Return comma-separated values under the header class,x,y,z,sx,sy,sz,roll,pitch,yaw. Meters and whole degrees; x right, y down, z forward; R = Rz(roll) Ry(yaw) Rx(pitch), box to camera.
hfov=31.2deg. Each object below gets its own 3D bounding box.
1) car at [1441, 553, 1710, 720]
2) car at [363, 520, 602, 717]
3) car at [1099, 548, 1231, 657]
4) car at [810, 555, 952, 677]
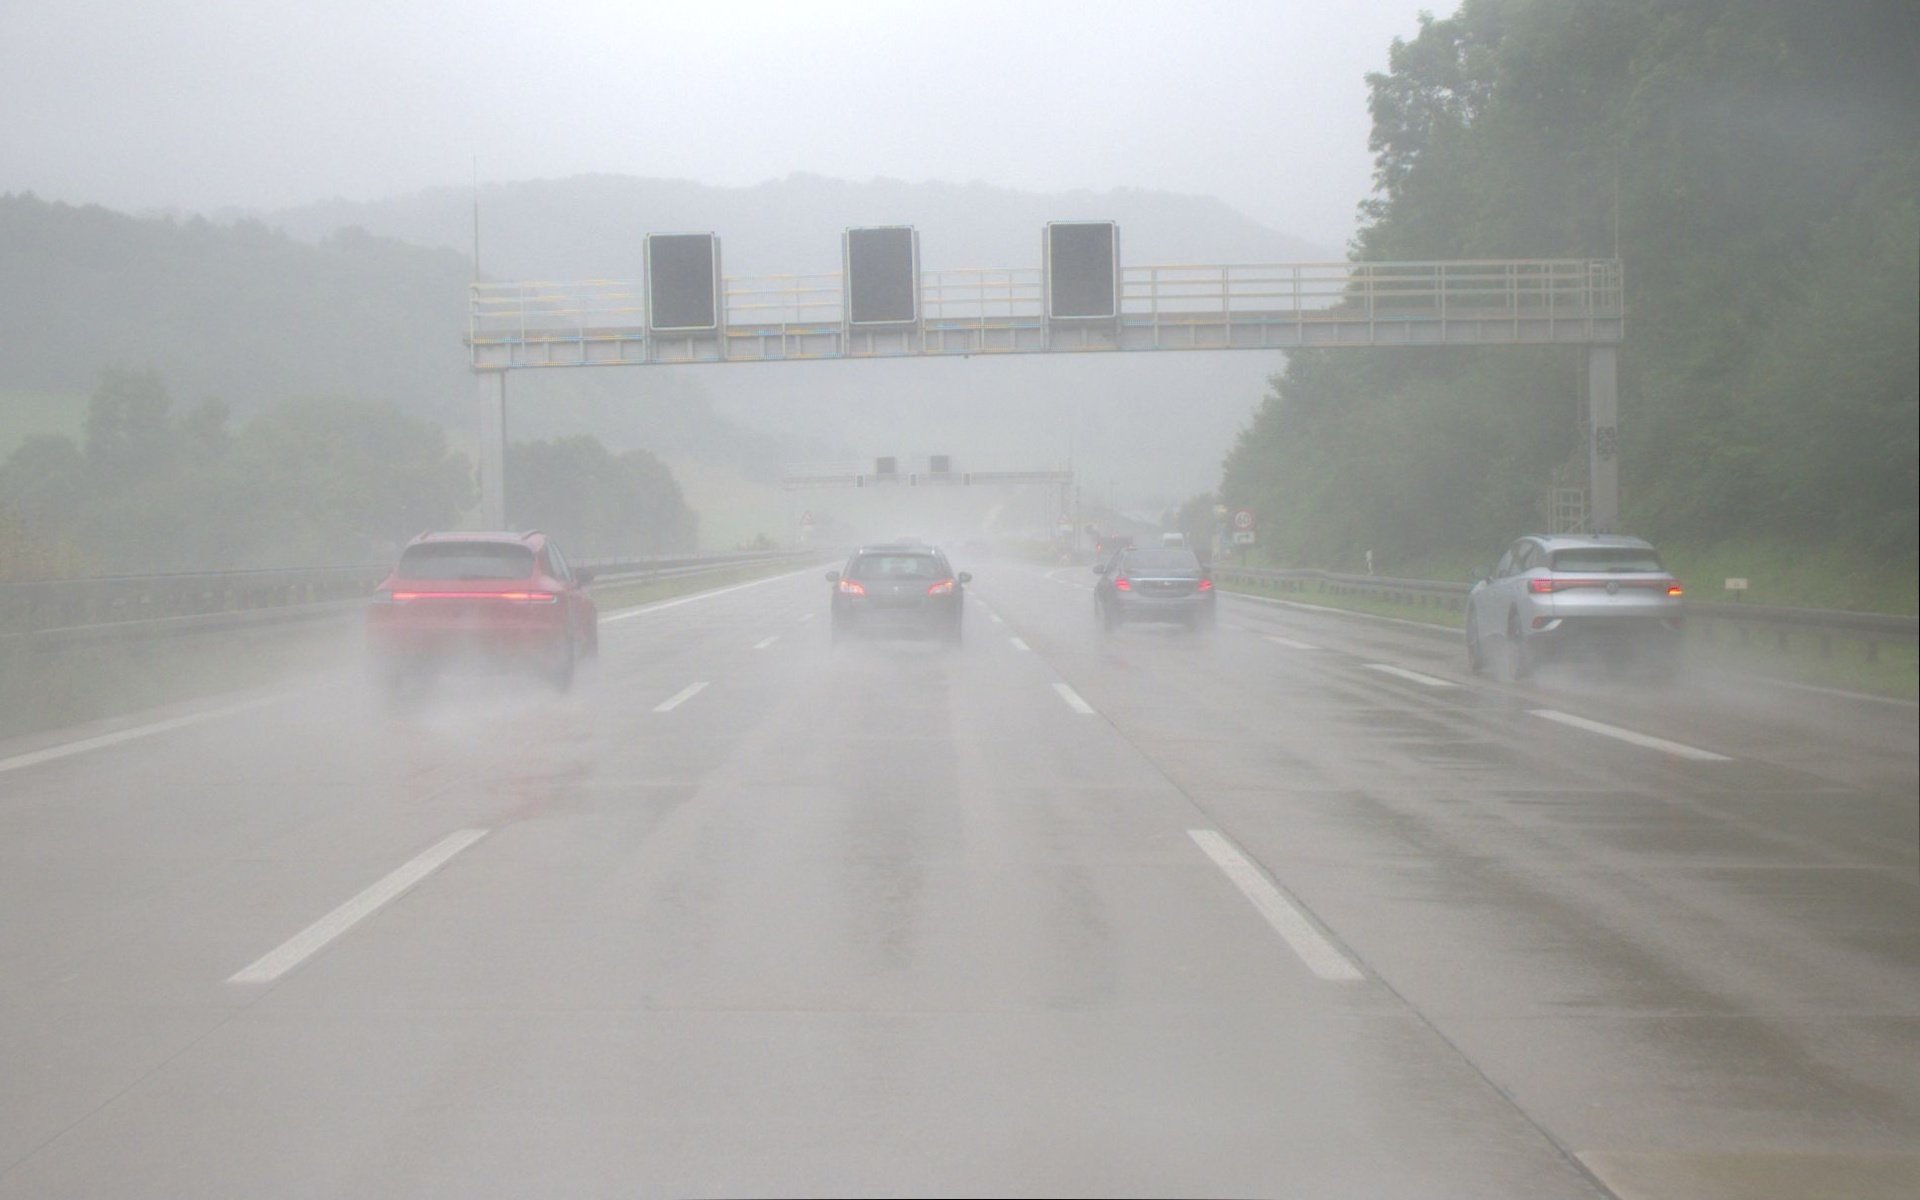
class,x,y,z,sx,sy,sz,roll,pitch,yaw
car,6.969,0.354,39.517,1.993,1.744,5.663,1,1,-1
car,-4.629,0.137,33.836,1.884,1.809,4.000,0,1,-2
car,3.463,0.008,58.667,1.971,1.754,4.000,0,1,-1
car,-1.065,0.192,47.473,1.859,1.584,4.000,1,1,-1
